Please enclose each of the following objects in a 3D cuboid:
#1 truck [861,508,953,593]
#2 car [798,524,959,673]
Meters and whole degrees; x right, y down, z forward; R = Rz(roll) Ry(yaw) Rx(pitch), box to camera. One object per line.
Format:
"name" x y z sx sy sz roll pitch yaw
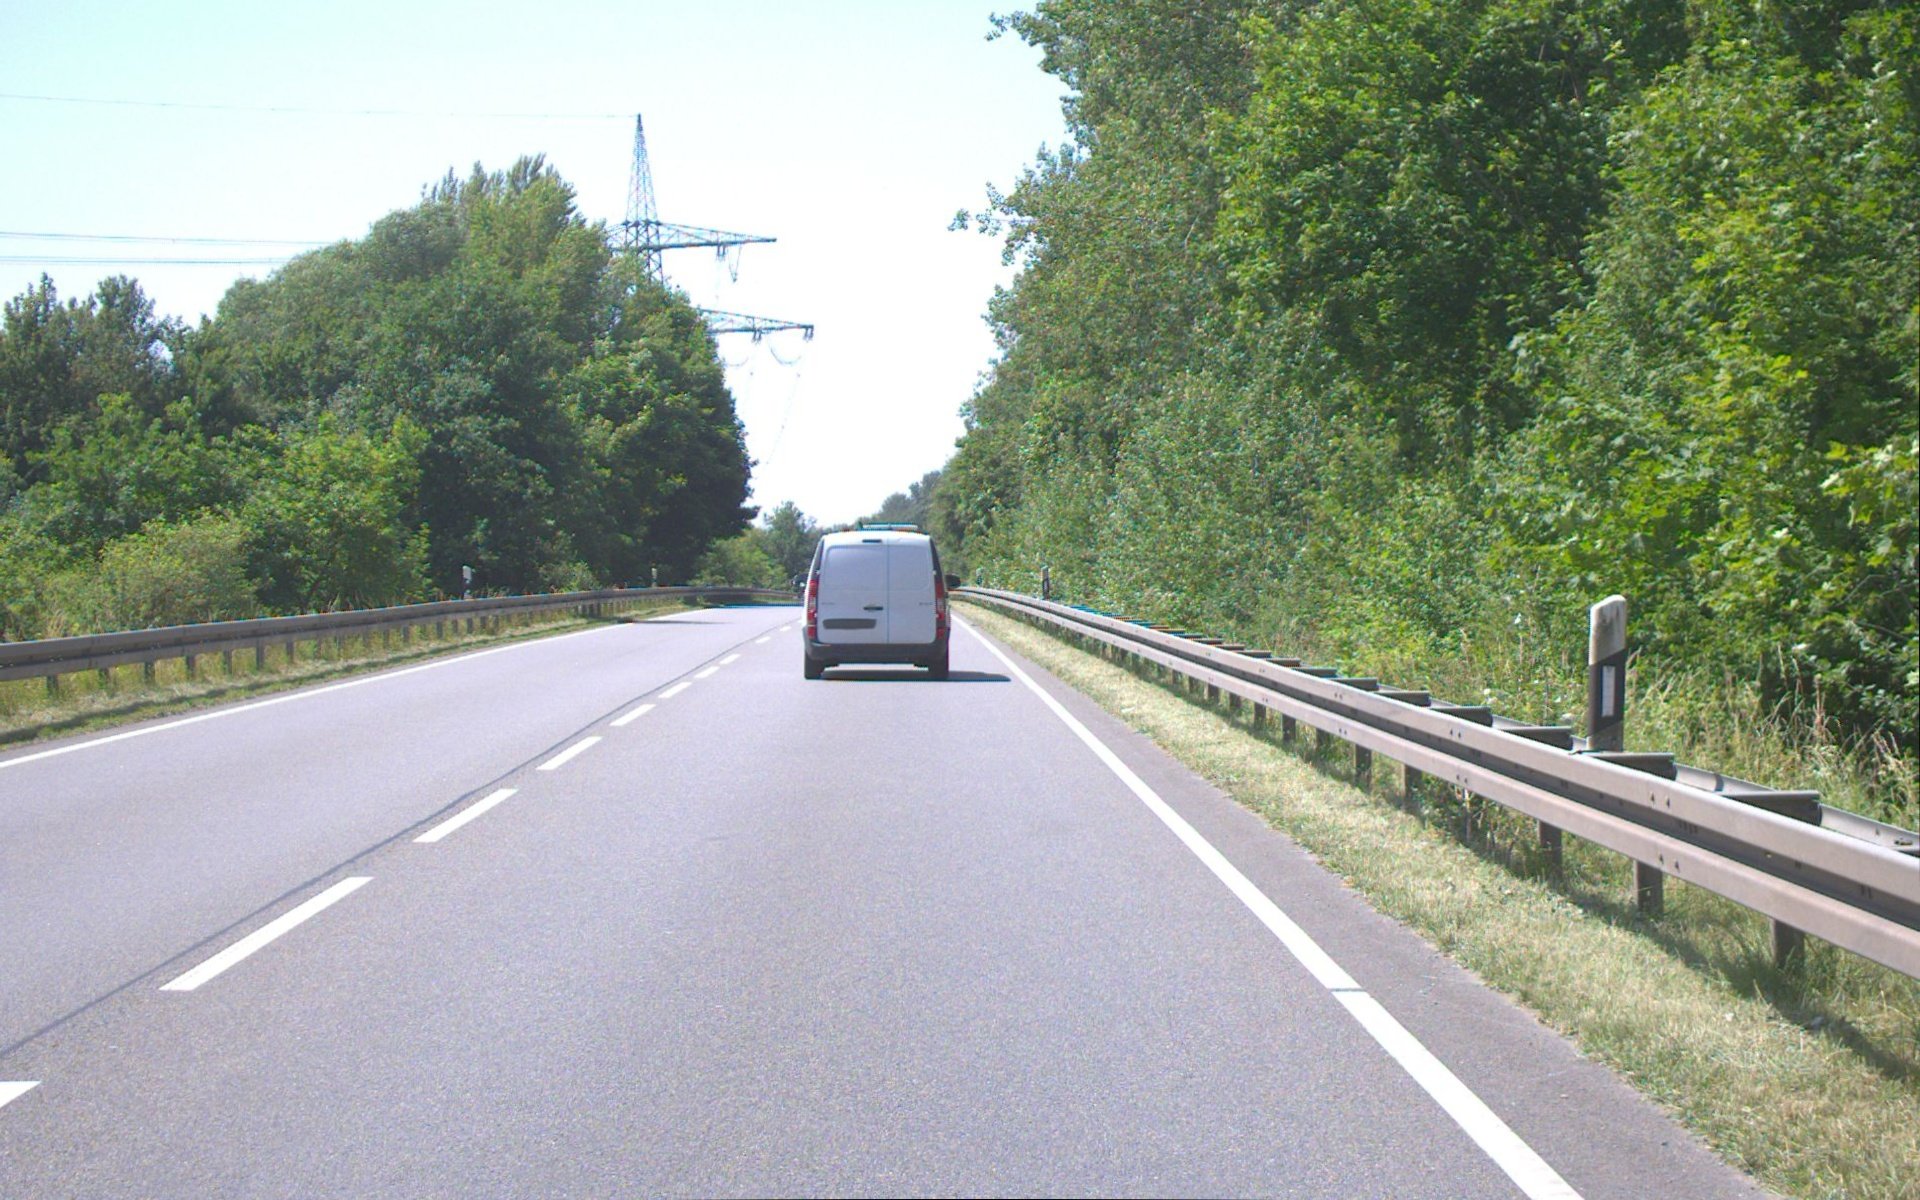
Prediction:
"truck" -2.254 -2.034 140.203 3.296 3.161 14.406 2 1 -2
"car" -1.004 -0.041 42.419 1.875 1.735 4.000 1 1 -1
